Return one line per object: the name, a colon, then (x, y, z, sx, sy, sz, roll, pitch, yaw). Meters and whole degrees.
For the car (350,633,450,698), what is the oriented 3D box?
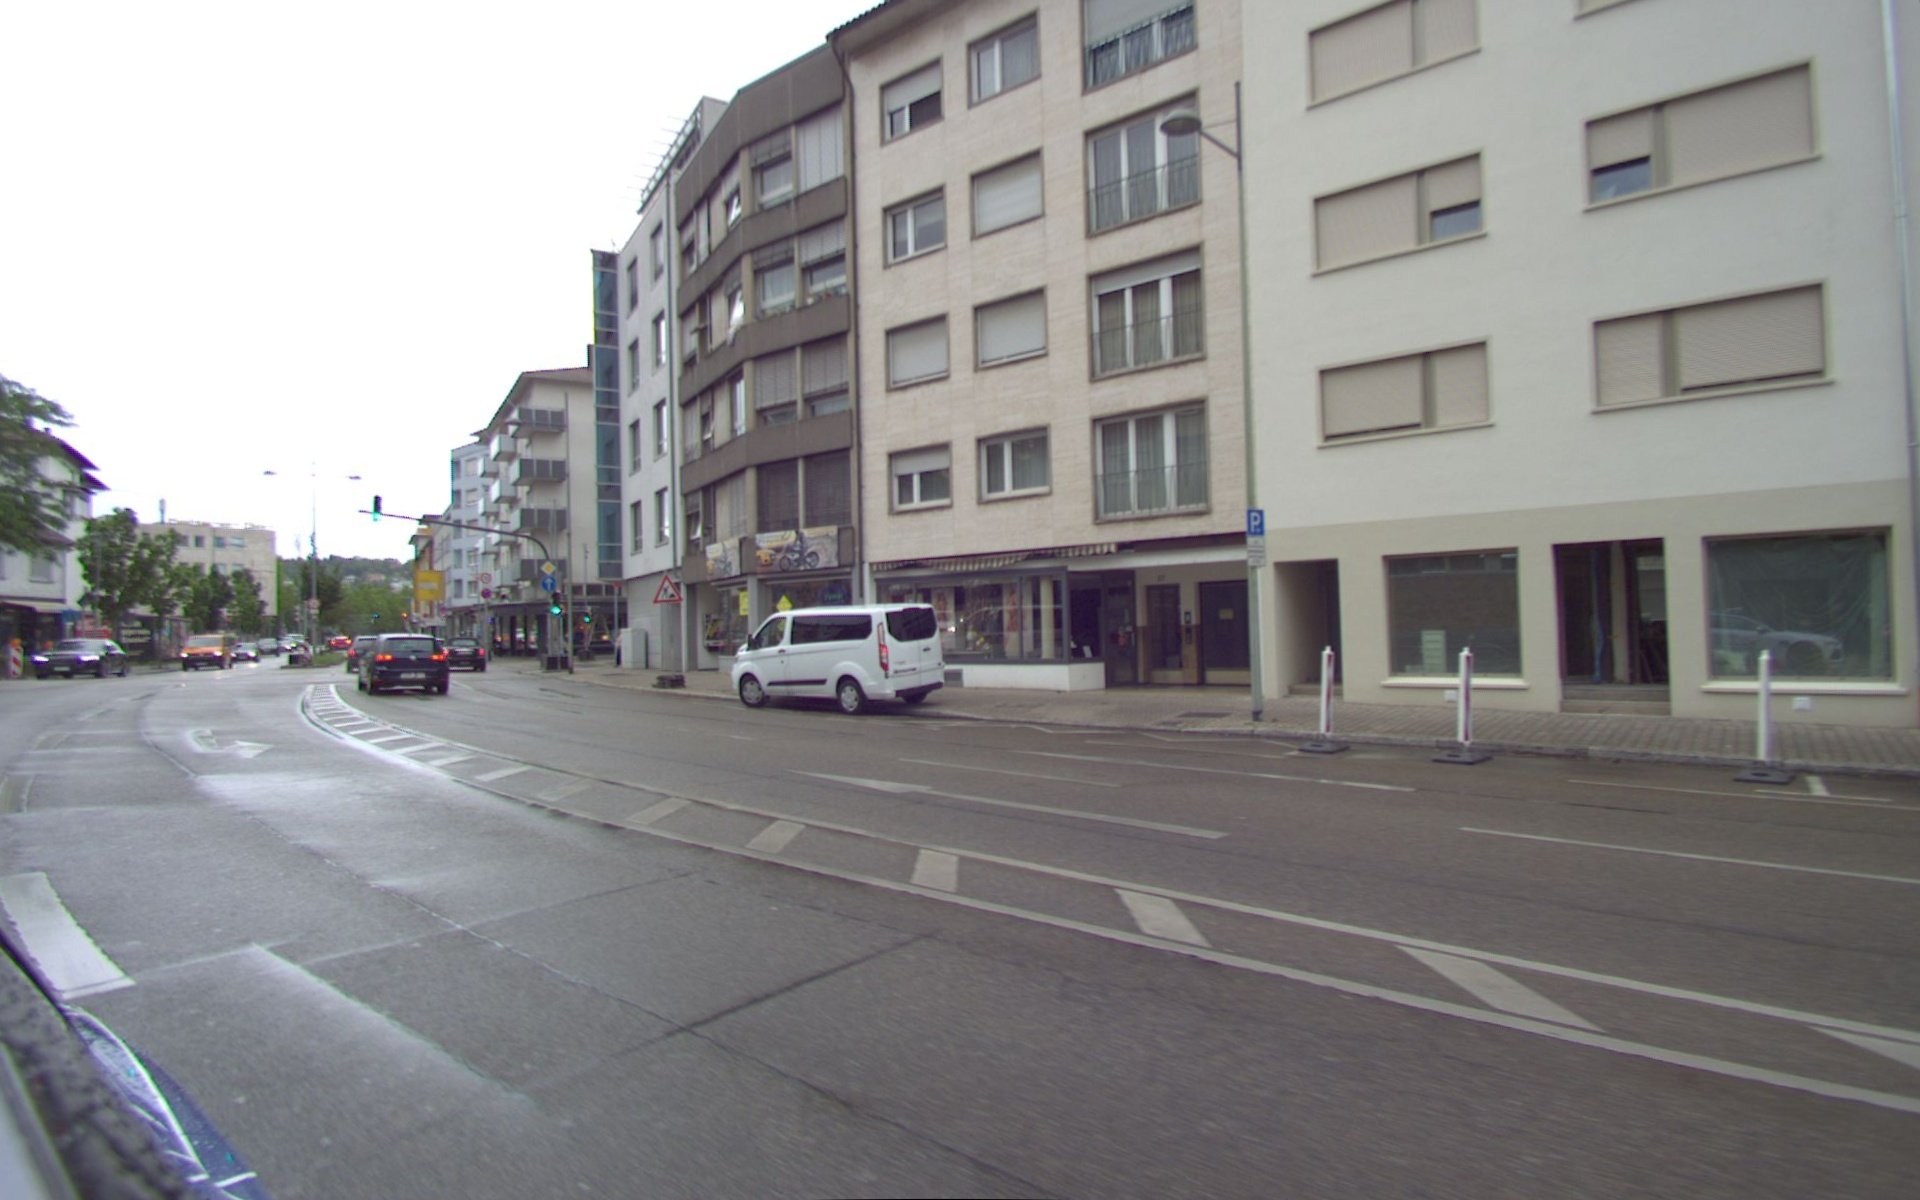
car: (-14.050, 1.616, 25.304, 1.661, 1.484, 4.009, 3, -4, -36)

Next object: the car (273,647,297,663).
car: (-77.388, 6.241, 116.027, 1.966, 1.620, 4.012, -2, 0, -30)

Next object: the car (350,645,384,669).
car: (-39.666, 3.795, 67.759, 1.827, 1.485, 4.662, 1, -3, -29)

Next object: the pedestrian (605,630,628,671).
pedestrian: (-13.885, 2.053, 40.909, 0.618, 1.620, 0.830, -1, -3, 7)

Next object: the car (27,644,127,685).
car: (-31.397, 2.303, 36.117, 1.782, 1.350, 4.291, 1, -4, -29)

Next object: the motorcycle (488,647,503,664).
motorcycle: (-31.363, 3.722, 68.302, 0.659, 1.096, 2.202, -2, 0, -32)

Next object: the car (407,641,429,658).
car: (-49.666, 4.533, 92.732, 1.747, 1.535, 4.297, 0, -3, -28)

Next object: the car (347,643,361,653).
car: (-88.645, 7.052, 147.956, 1.674, 1.452, 3.851, 2, -4, -31)

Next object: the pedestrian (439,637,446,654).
pedestrian: (-51.112, 4.518, 99.957, 0.504, 1.701, 0.533, 2, -2, -30)

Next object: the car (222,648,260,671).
car: (-51.884, 4.248, 73.044, 1.813, 1.453, 4.012, -3, 0, -30)

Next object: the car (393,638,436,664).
car: (-32.374, 3.033, 60.017, 1.902, 1.485, 4.616, 3, -4, -32)

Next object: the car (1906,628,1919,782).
car: (10.995, 0.938, 7.933, 4.969, 1.488, 1.865, -2, -3, 36)

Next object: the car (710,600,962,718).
car: (-2.619, 1.095, 20.484, 5.125, 2.029, 2.097, -1, 1, 40)

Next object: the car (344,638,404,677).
car: (-23.761, 2.305, 41.034, 1.956, 1.470, 4.499, 2, -3, -30)

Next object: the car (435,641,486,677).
car: (-20.806, 2.435, 42.083, 1.698, 1.410, 3.605, 0, -2, -30)

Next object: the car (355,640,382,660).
car: (-48.035, 4.084, 82.210, 1.804, 1.555, 4.296, 1, -3, -30)

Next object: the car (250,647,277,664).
car: (-64.240, 5.067, 93.382, 1.784, 1.352, 4.012, -3, 0, -30)

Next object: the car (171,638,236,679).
car: (-42.515, 3.230, 57.031, 2.162, 2.102, 5.951, -1, -1, -29)

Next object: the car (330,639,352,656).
car: (-63.801, 4.891, 104.370, 1.821, 1.606, 4.103, 1, -3, -30)
